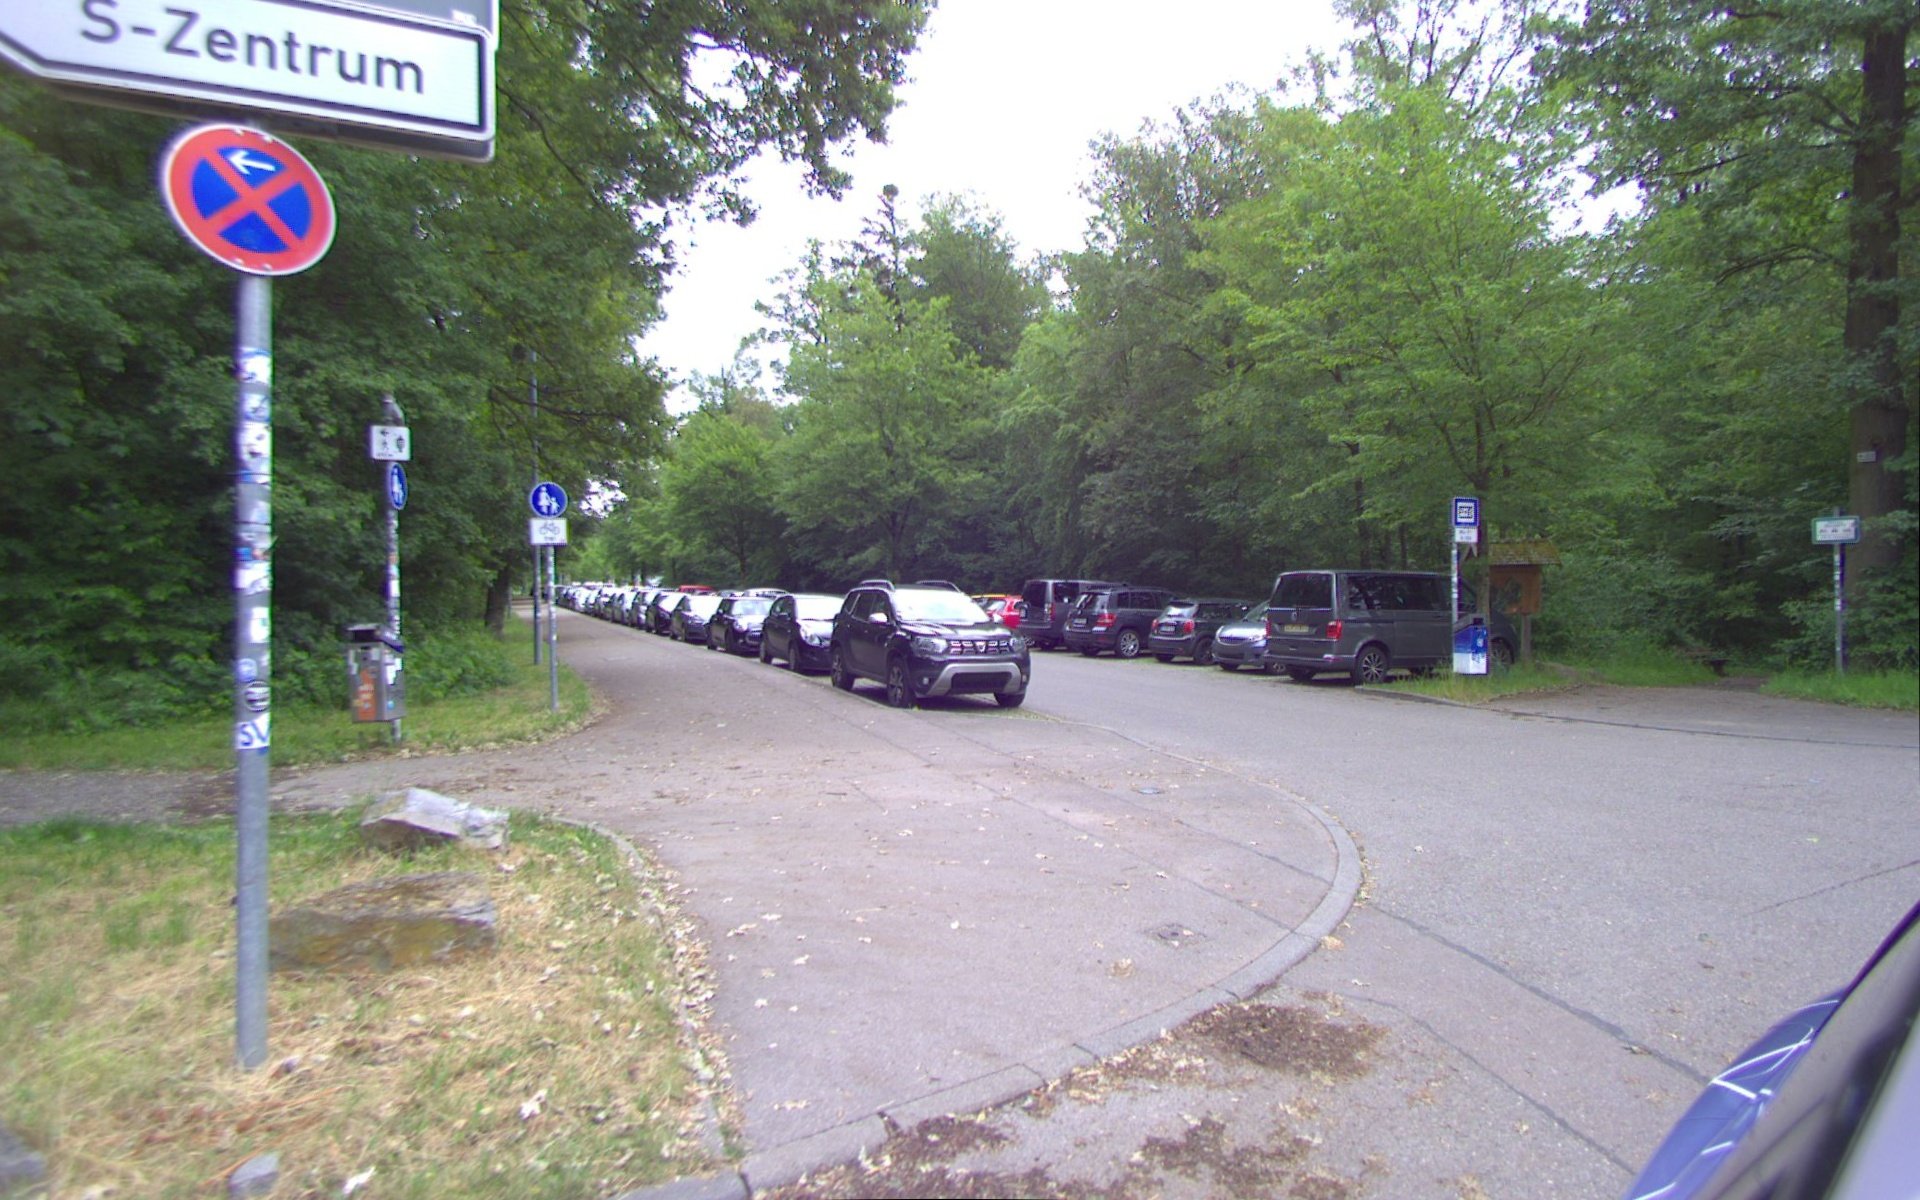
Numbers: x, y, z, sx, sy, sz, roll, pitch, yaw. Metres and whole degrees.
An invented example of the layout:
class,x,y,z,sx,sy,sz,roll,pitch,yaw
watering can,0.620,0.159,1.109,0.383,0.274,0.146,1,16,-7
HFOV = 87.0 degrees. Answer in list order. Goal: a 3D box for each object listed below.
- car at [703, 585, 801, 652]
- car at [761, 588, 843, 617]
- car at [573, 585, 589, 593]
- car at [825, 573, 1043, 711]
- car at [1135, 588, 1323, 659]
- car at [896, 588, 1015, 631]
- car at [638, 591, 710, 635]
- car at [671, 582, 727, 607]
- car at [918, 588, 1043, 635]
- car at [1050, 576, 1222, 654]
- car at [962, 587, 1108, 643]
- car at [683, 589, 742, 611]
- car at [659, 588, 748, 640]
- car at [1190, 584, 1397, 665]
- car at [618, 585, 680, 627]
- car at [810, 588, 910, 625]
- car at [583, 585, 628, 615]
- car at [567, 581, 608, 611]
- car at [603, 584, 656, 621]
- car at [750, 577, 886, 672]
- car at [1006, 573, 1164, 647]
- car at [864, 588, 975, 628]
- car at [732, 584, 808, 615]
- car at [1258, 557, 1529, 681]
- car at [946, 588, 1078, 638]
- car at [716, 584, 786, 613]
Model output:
class,x,y,z,sx,sy,sz,roll,pitch,yaw
car,-5.230,0.388,25.049,1.705,1.513,4.242,0,1,-21
car,-8.236,0.139,52.817,3.916,1.453,1.651,0,0,-23
car,-61.970,-1.770,165.432,1.737,1.332,3.897,0,1,-10
car,-0.529,0.473,14.358,1.777,1.654,4.006,0,1,-22
car,6.141,0.479,23.083,3.917,1.448,1.724,-1,1,-24
car,-0.155,0.303,36.670,3.917,1.456,1.736,-1,1,-25
car,-10.358,0.430,36.463,1.706,1.450,4.509,0,1,-26
car,-20.009,-0.431,77.610,3.917,1.837,1.821,1,0,-25
car,0.702,0.359,34.504,3.917,1.456,1.620,-1,1,-25
car,4.407,0.316,25.334,3.918,1.788,1.827,-1,1,-26
car,2.213,0.398,29.658,3.918,1.494,1.782,-1,1,-27
car,-17.855,-0.007,72.968,3.917,1.535,1.774,0,0,-25
car,-7.821,0.355,30.540,1.706,1.450,4.509,0,1,-26
car,6.793,0.468,20.649,3.747,1.532,1.813,0,0,-22
car,-12.702,0.186,41.205,1.706,1.609,4.389,0,1,-26
car,-4.257,0.250,43.220,3.917,1.486,1.718,-1,1,-25
car,-18.847,-0.030,53.754,1.706,1.492,4.612,0,1,-26
car,-21.710,-0.289,58.841,1.706,1.664,5.080,0,1,-26
car,-14.938,0.059,45.567,1.706,1.587,4.014,0,1,-26
car,-2.933,0.394,20.081,1.705,1.654,4.384,0,1,-21
car,3.407,0.227,27.561,3.918,1.886,1.816,-1,1,-25
car,-1.564,0.297,39.030,3.917,1.456,1.718,0,0,-25
car,-10.755,-0.041,57.371,3.918,1.683,1.817,0,0,-26
car,7.721,0.315,18.032,4.422,2.003,1.894,0,0,-22
car,1.666,0.370,32.314,3.919,1.456,1.674,-1,1,-27
car,-12.752,-0.098,61.758,3.917,1.683,1.817,0,0,-24
